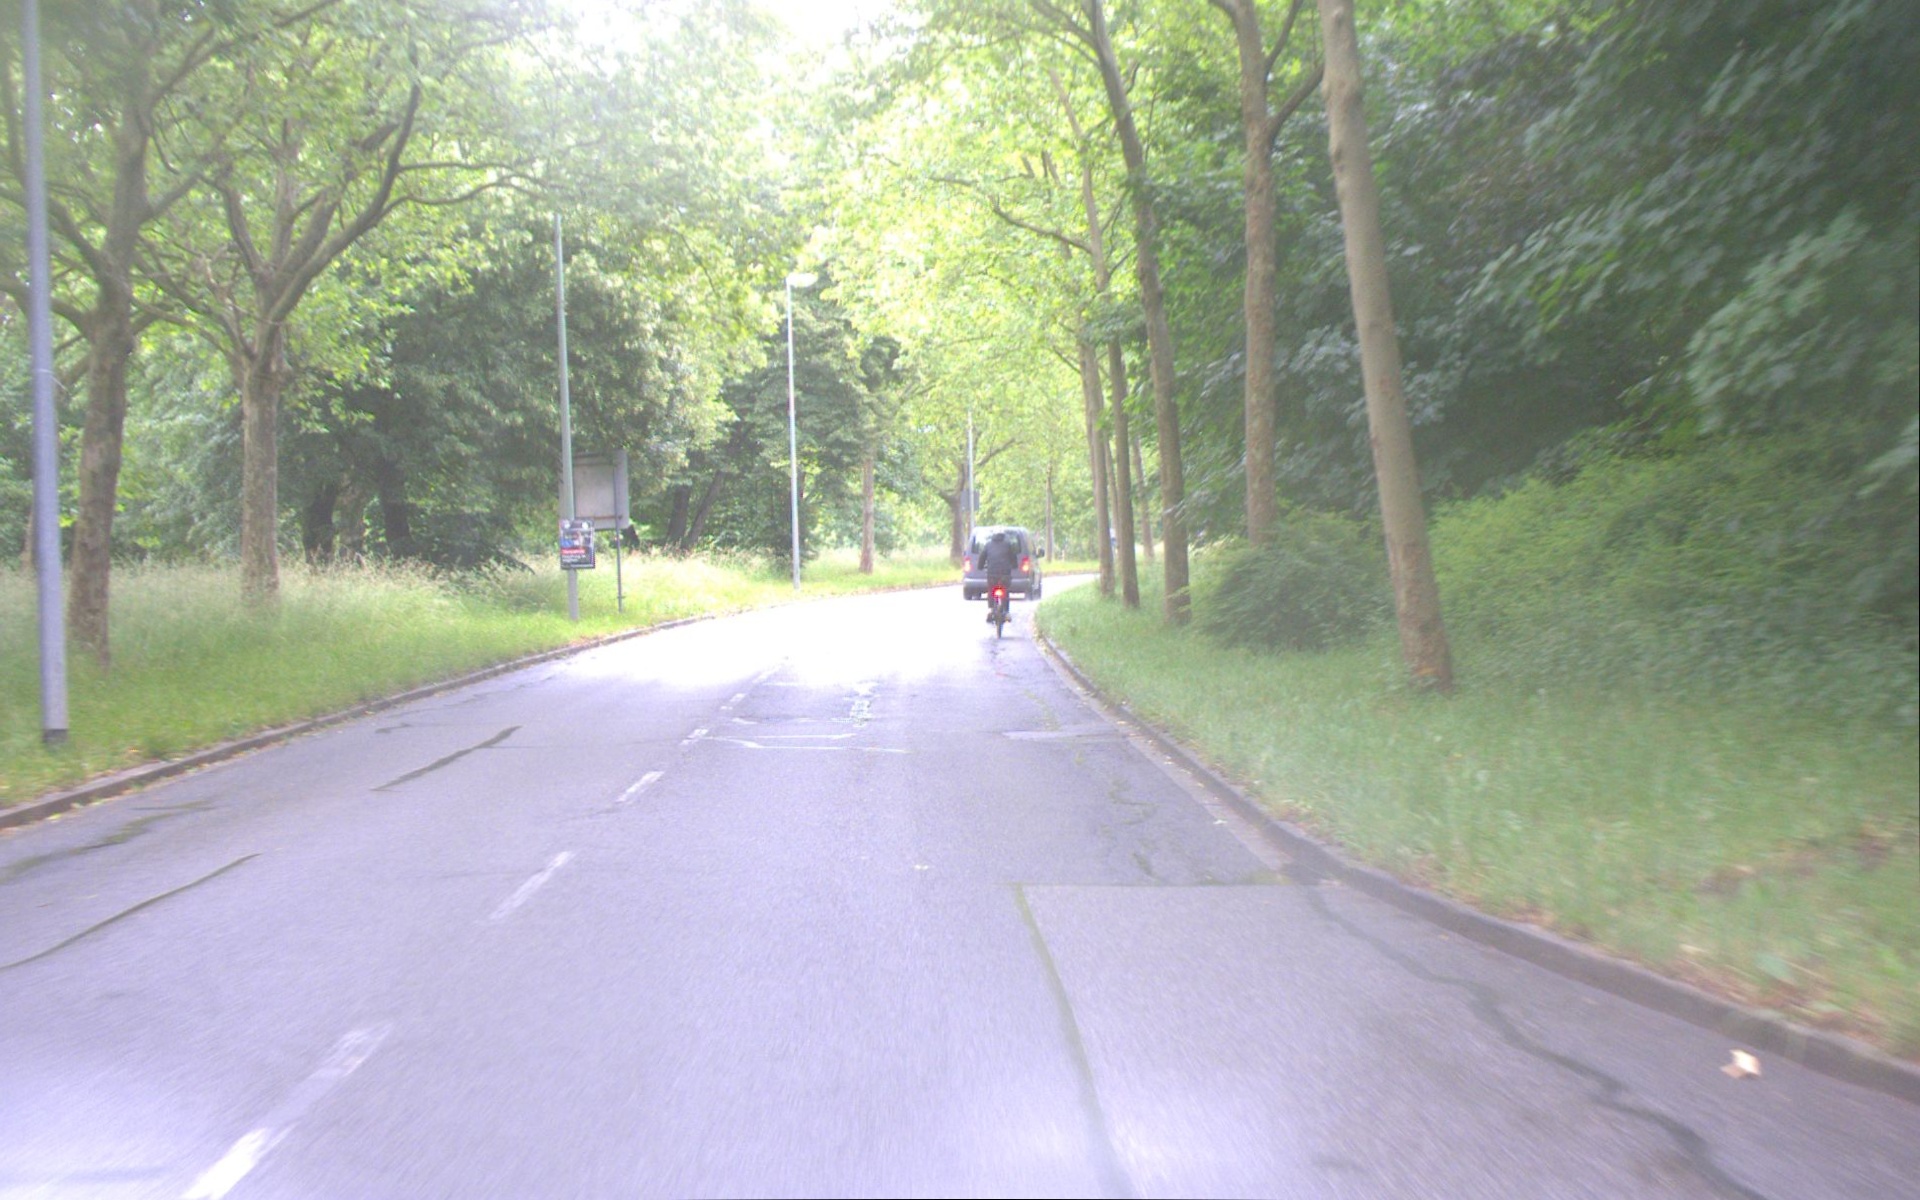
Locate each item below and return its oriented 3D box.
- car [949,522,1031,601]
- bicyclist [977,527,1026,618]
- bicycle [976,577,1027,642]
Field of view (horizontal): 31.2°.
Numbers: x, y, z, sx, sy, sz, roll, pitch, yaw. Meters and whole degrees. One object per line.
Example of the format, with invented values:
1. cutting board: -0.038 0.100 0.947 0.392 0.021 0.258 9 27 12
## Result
1. car: 0.772 -0.981 86.499 1.985 1.919 4.000 -1 1 1
2. bicyclist: 0.644 -0.433 53.673 0.730 1.406 0.973 0 1 3
3. bicycle: 0.655 0.137 53.941 0.730 0.970 2.173 0 1 3
